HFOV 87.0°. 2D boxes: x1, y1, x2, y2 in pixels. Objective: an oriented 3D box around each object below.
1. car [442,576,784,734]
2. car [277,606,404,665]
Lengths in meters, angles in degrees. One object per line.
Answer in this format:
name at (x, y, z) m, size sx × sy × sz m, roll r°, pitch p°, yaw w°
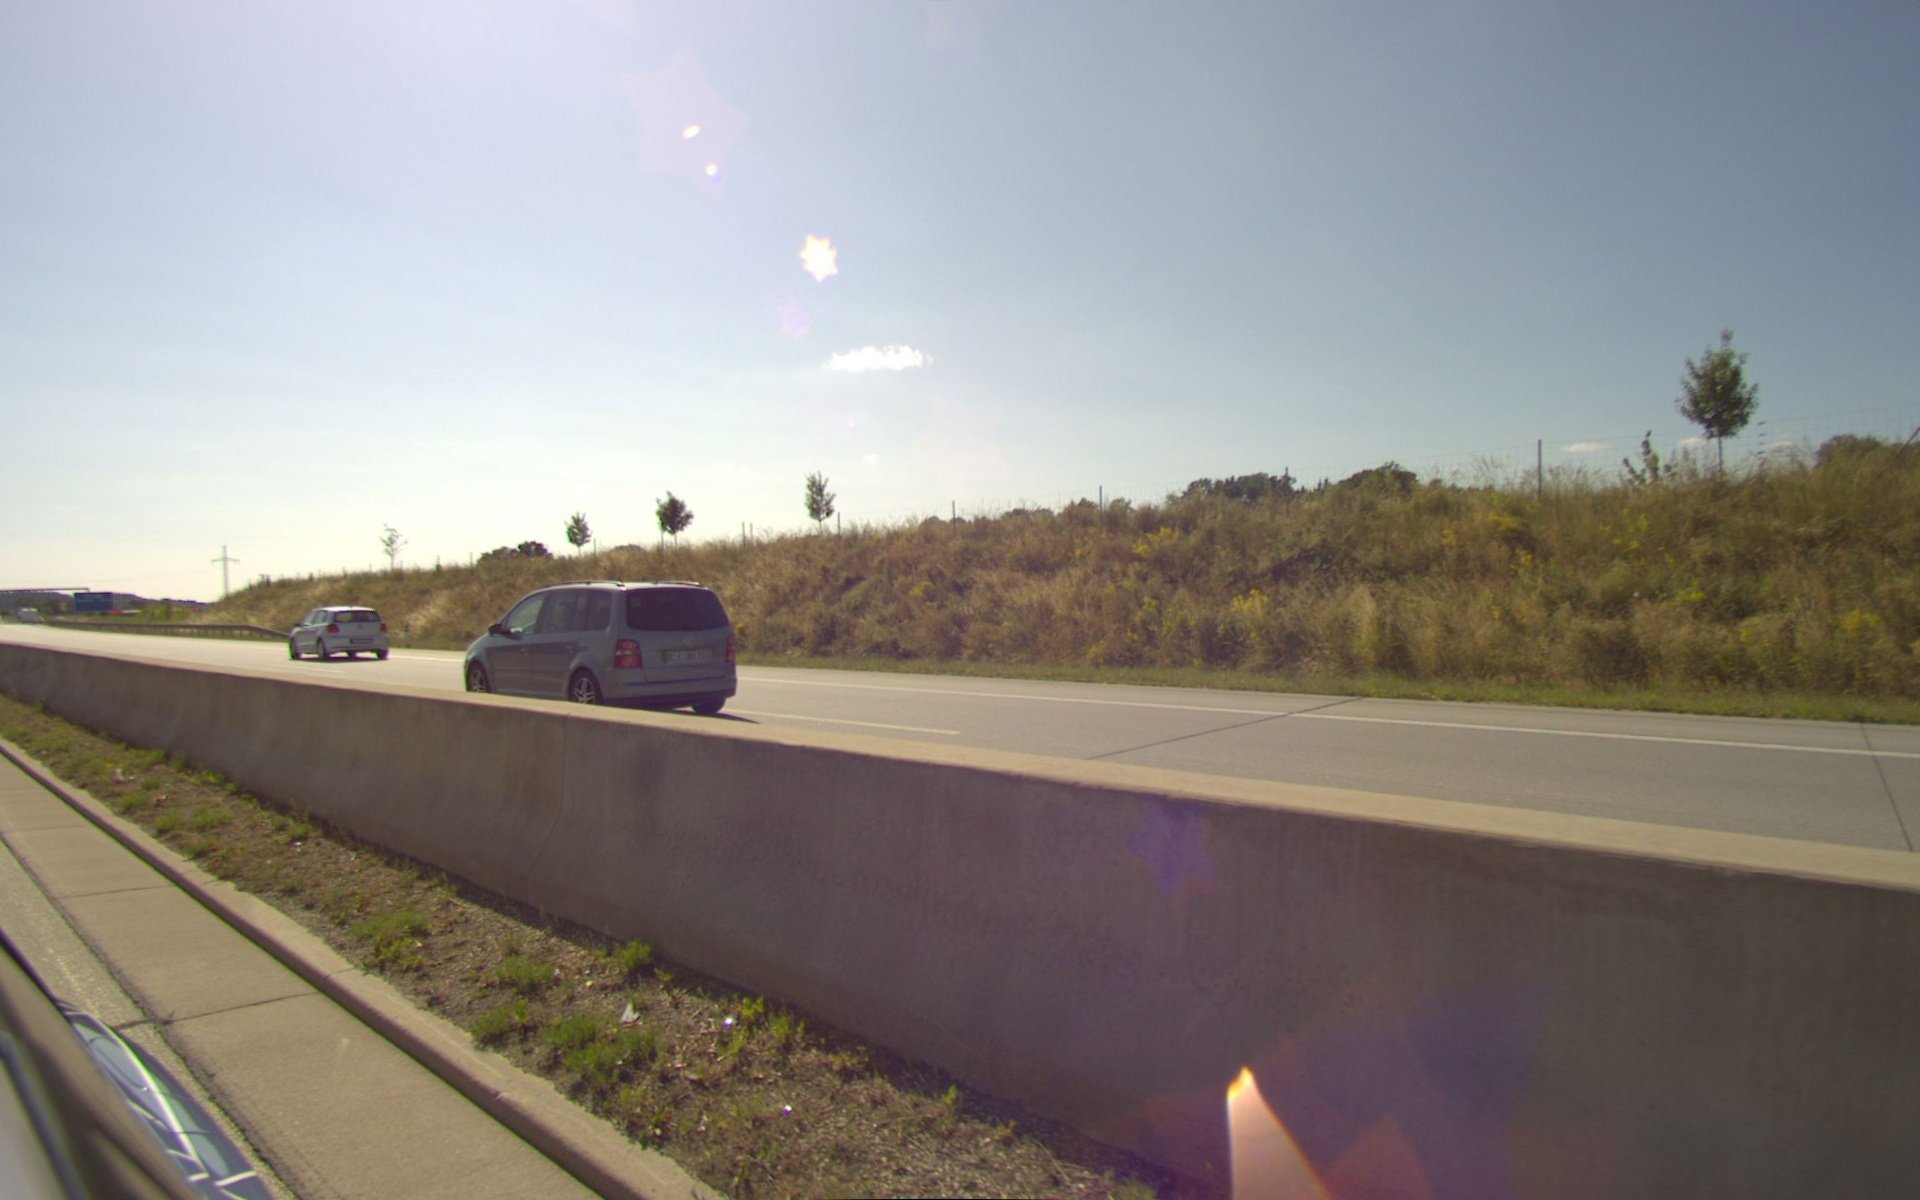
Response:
car at (-4.361, 0.583, 12.359) m, size 4.561 × 1.587 × 1.860 m, roll -1°, pitch -1°, yaw 40°
car at (-17.605, 0.973, 28.669) m, size 4.564 × 1.513 × 1.859 m, roll -1°, pitch -1°, yaw 42°
